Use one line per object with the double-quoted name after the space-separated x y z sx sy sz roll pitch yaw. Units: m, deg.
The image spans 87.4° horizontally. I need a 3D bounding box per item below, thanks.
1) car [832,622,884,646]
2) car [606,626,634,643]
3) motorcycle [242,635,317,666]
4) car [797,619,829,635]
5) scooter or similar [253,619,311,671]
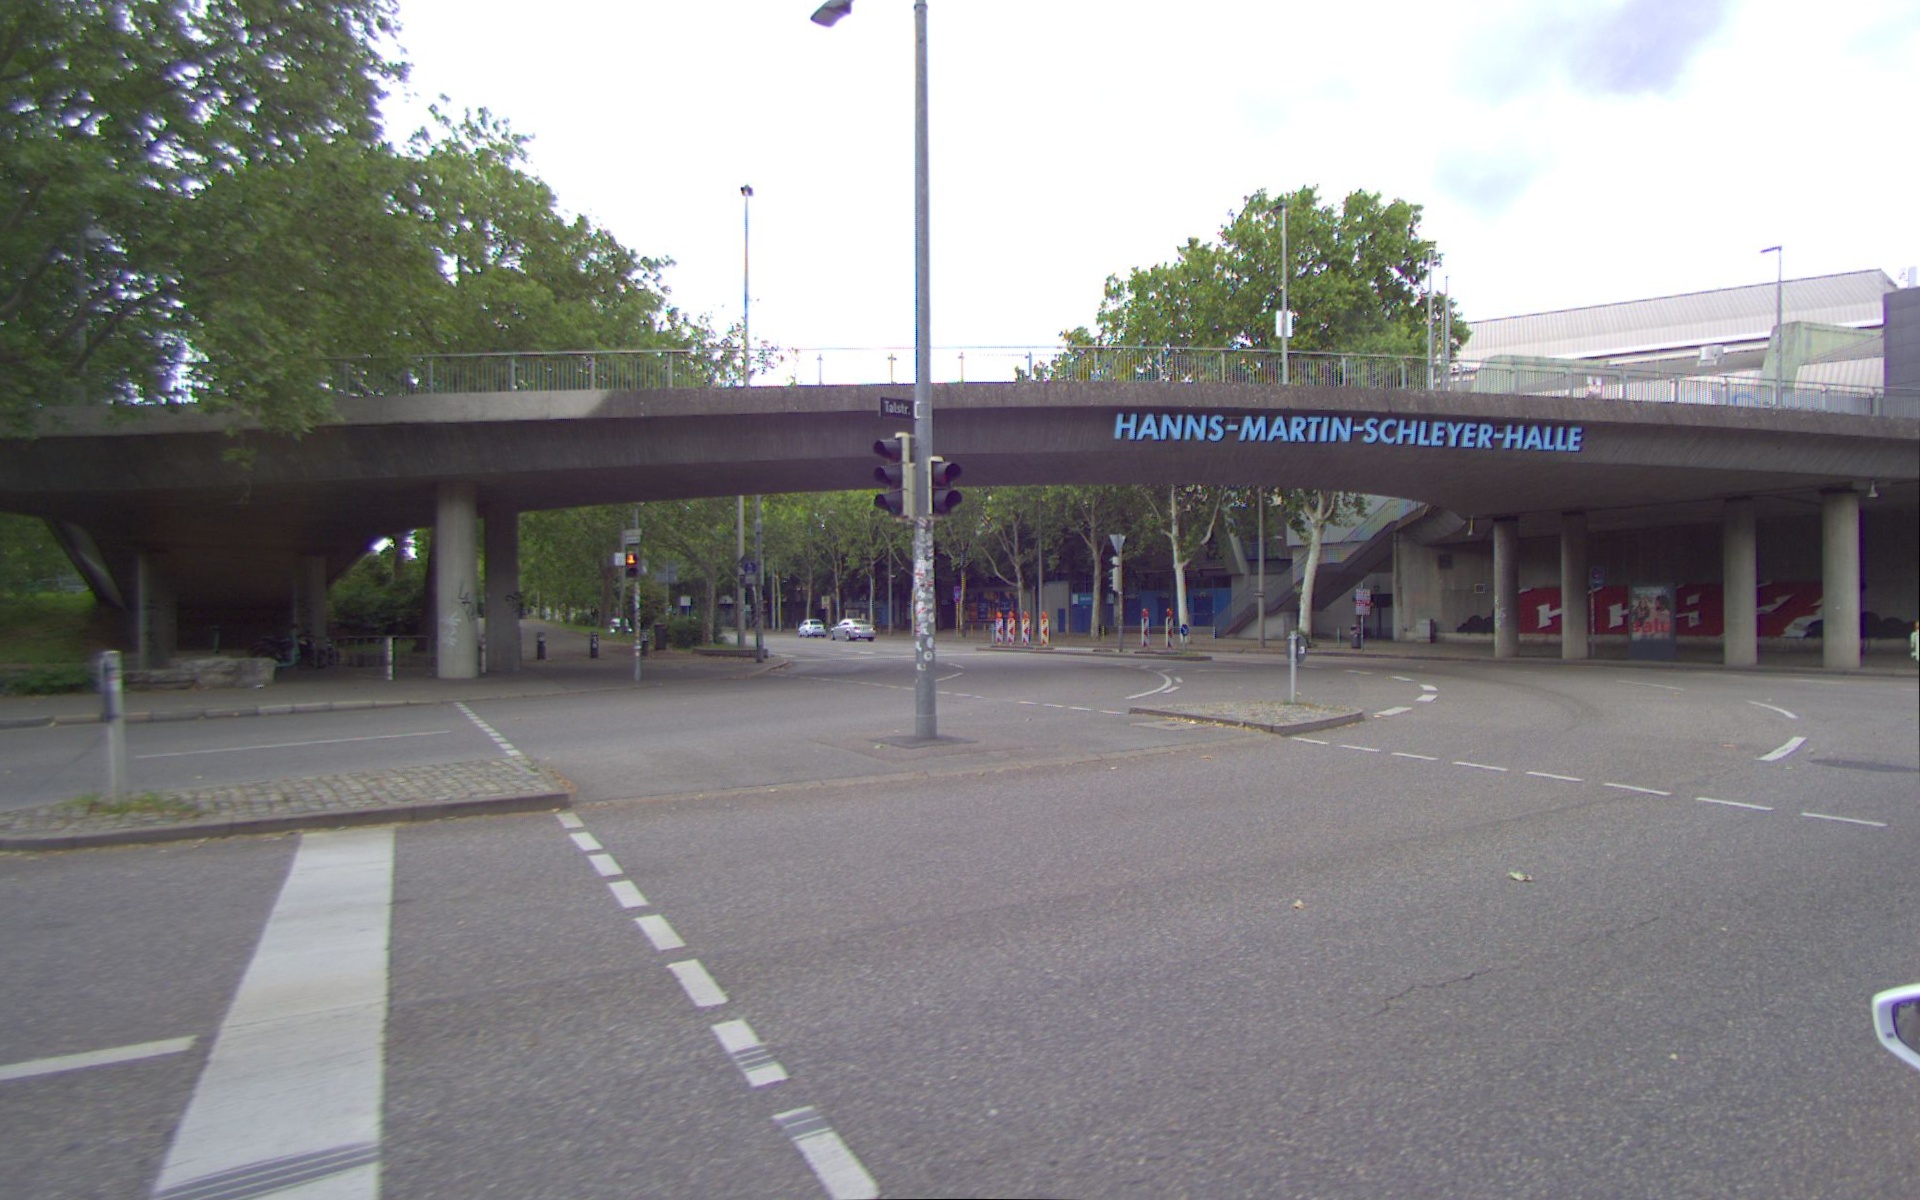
-6.774 2.242 66.445 1.977 1.437 3.967 1 0 -31 "car"
-30.247 3.043 89.344 1.742 1.338 3.687 1 0 -29 "car"
-19.823 1.471 29.294 1.714 0.863 0.646 1 -1 -25 "motorcycle"
-12.319 2.256 84.130 1.596 1.330 3.369 1 0 -29 "car"
-18.097 1.208 26.835 1.214 1.336 0.414 3 -3 -31 "scooter or similar"
